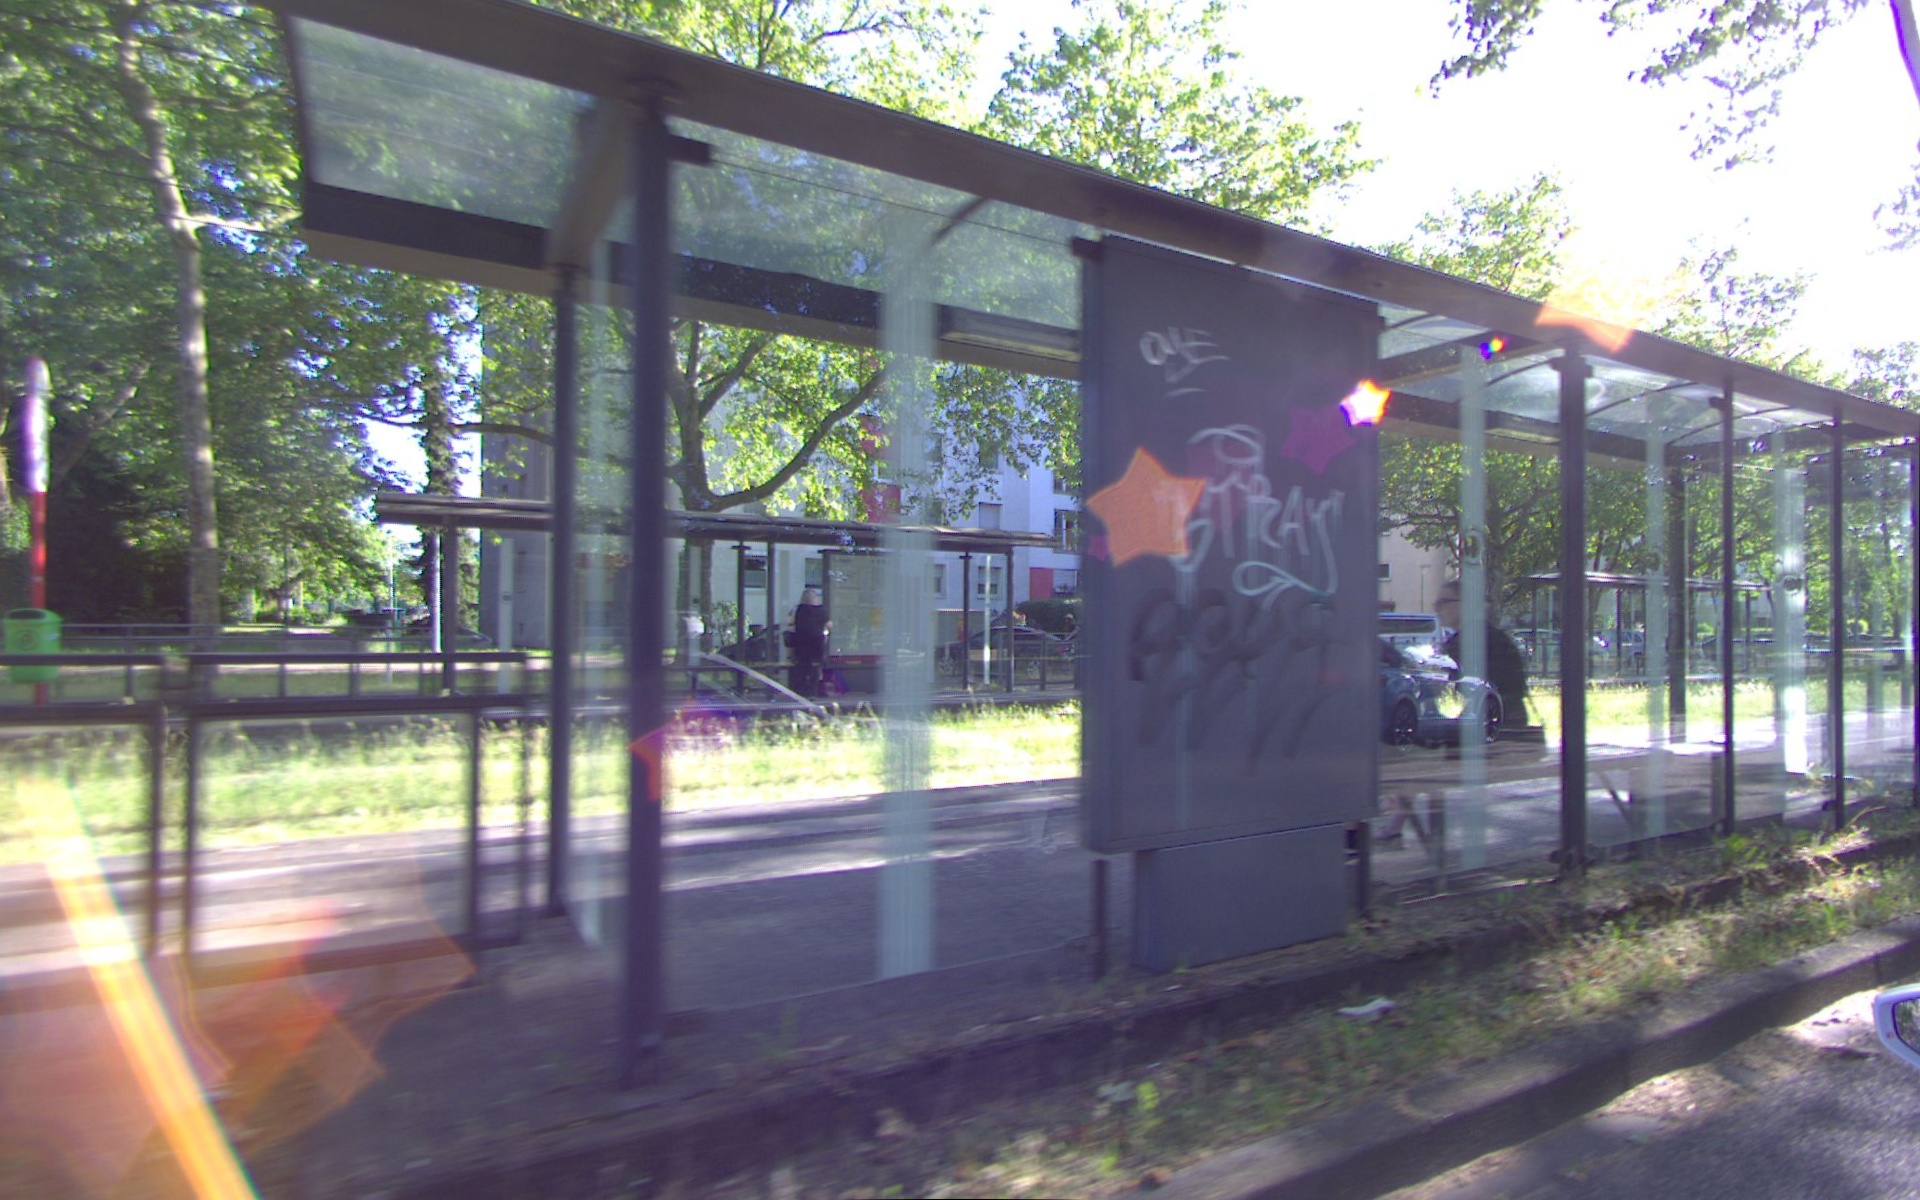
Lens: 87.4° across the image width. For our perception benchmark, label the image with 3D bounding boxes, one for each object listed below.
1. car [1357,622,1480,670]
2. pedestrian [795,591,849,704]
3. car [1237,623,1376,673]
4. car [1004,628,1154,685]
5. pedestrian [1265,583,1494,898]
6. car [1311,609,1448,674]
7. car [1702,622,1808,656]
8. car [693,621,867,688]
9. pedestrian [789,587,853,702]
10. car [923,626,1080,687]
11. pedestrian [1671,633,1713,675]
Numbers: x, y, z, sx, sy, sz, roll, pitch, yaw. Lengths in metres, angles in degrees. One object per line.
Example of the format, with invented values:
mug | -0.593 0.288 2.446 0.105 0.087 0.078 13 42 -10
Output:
car | 17.199 1.698 37.877 3.978 1.632 1.690 1 0 17
pedestrian | -1.932 0.657 14.008 0.672 1.533 0.643 1 -2 -13
car | 11.992 1.630 34.959 4.411 1.518 1.900 1 1 19
car | 3.535 1.634 29.836 4.118 1.447 1.699 1 1 22
pedestrian | 1.872 0.571 4.520 0.582 1.269 0.729 2 0 -35
car | 15.041 1.435 36.197 4.412 2.091 1.899 1 1 22
car | 40.757 1.970 51.561 3.914 1.565 1.646 1 0 19
car | -4.605 1.340 25.679 4.118 1.447 1.699 1 1 22
pedestrian | -2.082 0.665 15.029 0.707 1.656 0.725 2 -2 -32
car | 1.174 1.549 28.411 4.118 1.447 1.699 1 1 22
pedestrian | 20.508 1.521 28.148 0.654 1.141 0.692 2 -4 -29
